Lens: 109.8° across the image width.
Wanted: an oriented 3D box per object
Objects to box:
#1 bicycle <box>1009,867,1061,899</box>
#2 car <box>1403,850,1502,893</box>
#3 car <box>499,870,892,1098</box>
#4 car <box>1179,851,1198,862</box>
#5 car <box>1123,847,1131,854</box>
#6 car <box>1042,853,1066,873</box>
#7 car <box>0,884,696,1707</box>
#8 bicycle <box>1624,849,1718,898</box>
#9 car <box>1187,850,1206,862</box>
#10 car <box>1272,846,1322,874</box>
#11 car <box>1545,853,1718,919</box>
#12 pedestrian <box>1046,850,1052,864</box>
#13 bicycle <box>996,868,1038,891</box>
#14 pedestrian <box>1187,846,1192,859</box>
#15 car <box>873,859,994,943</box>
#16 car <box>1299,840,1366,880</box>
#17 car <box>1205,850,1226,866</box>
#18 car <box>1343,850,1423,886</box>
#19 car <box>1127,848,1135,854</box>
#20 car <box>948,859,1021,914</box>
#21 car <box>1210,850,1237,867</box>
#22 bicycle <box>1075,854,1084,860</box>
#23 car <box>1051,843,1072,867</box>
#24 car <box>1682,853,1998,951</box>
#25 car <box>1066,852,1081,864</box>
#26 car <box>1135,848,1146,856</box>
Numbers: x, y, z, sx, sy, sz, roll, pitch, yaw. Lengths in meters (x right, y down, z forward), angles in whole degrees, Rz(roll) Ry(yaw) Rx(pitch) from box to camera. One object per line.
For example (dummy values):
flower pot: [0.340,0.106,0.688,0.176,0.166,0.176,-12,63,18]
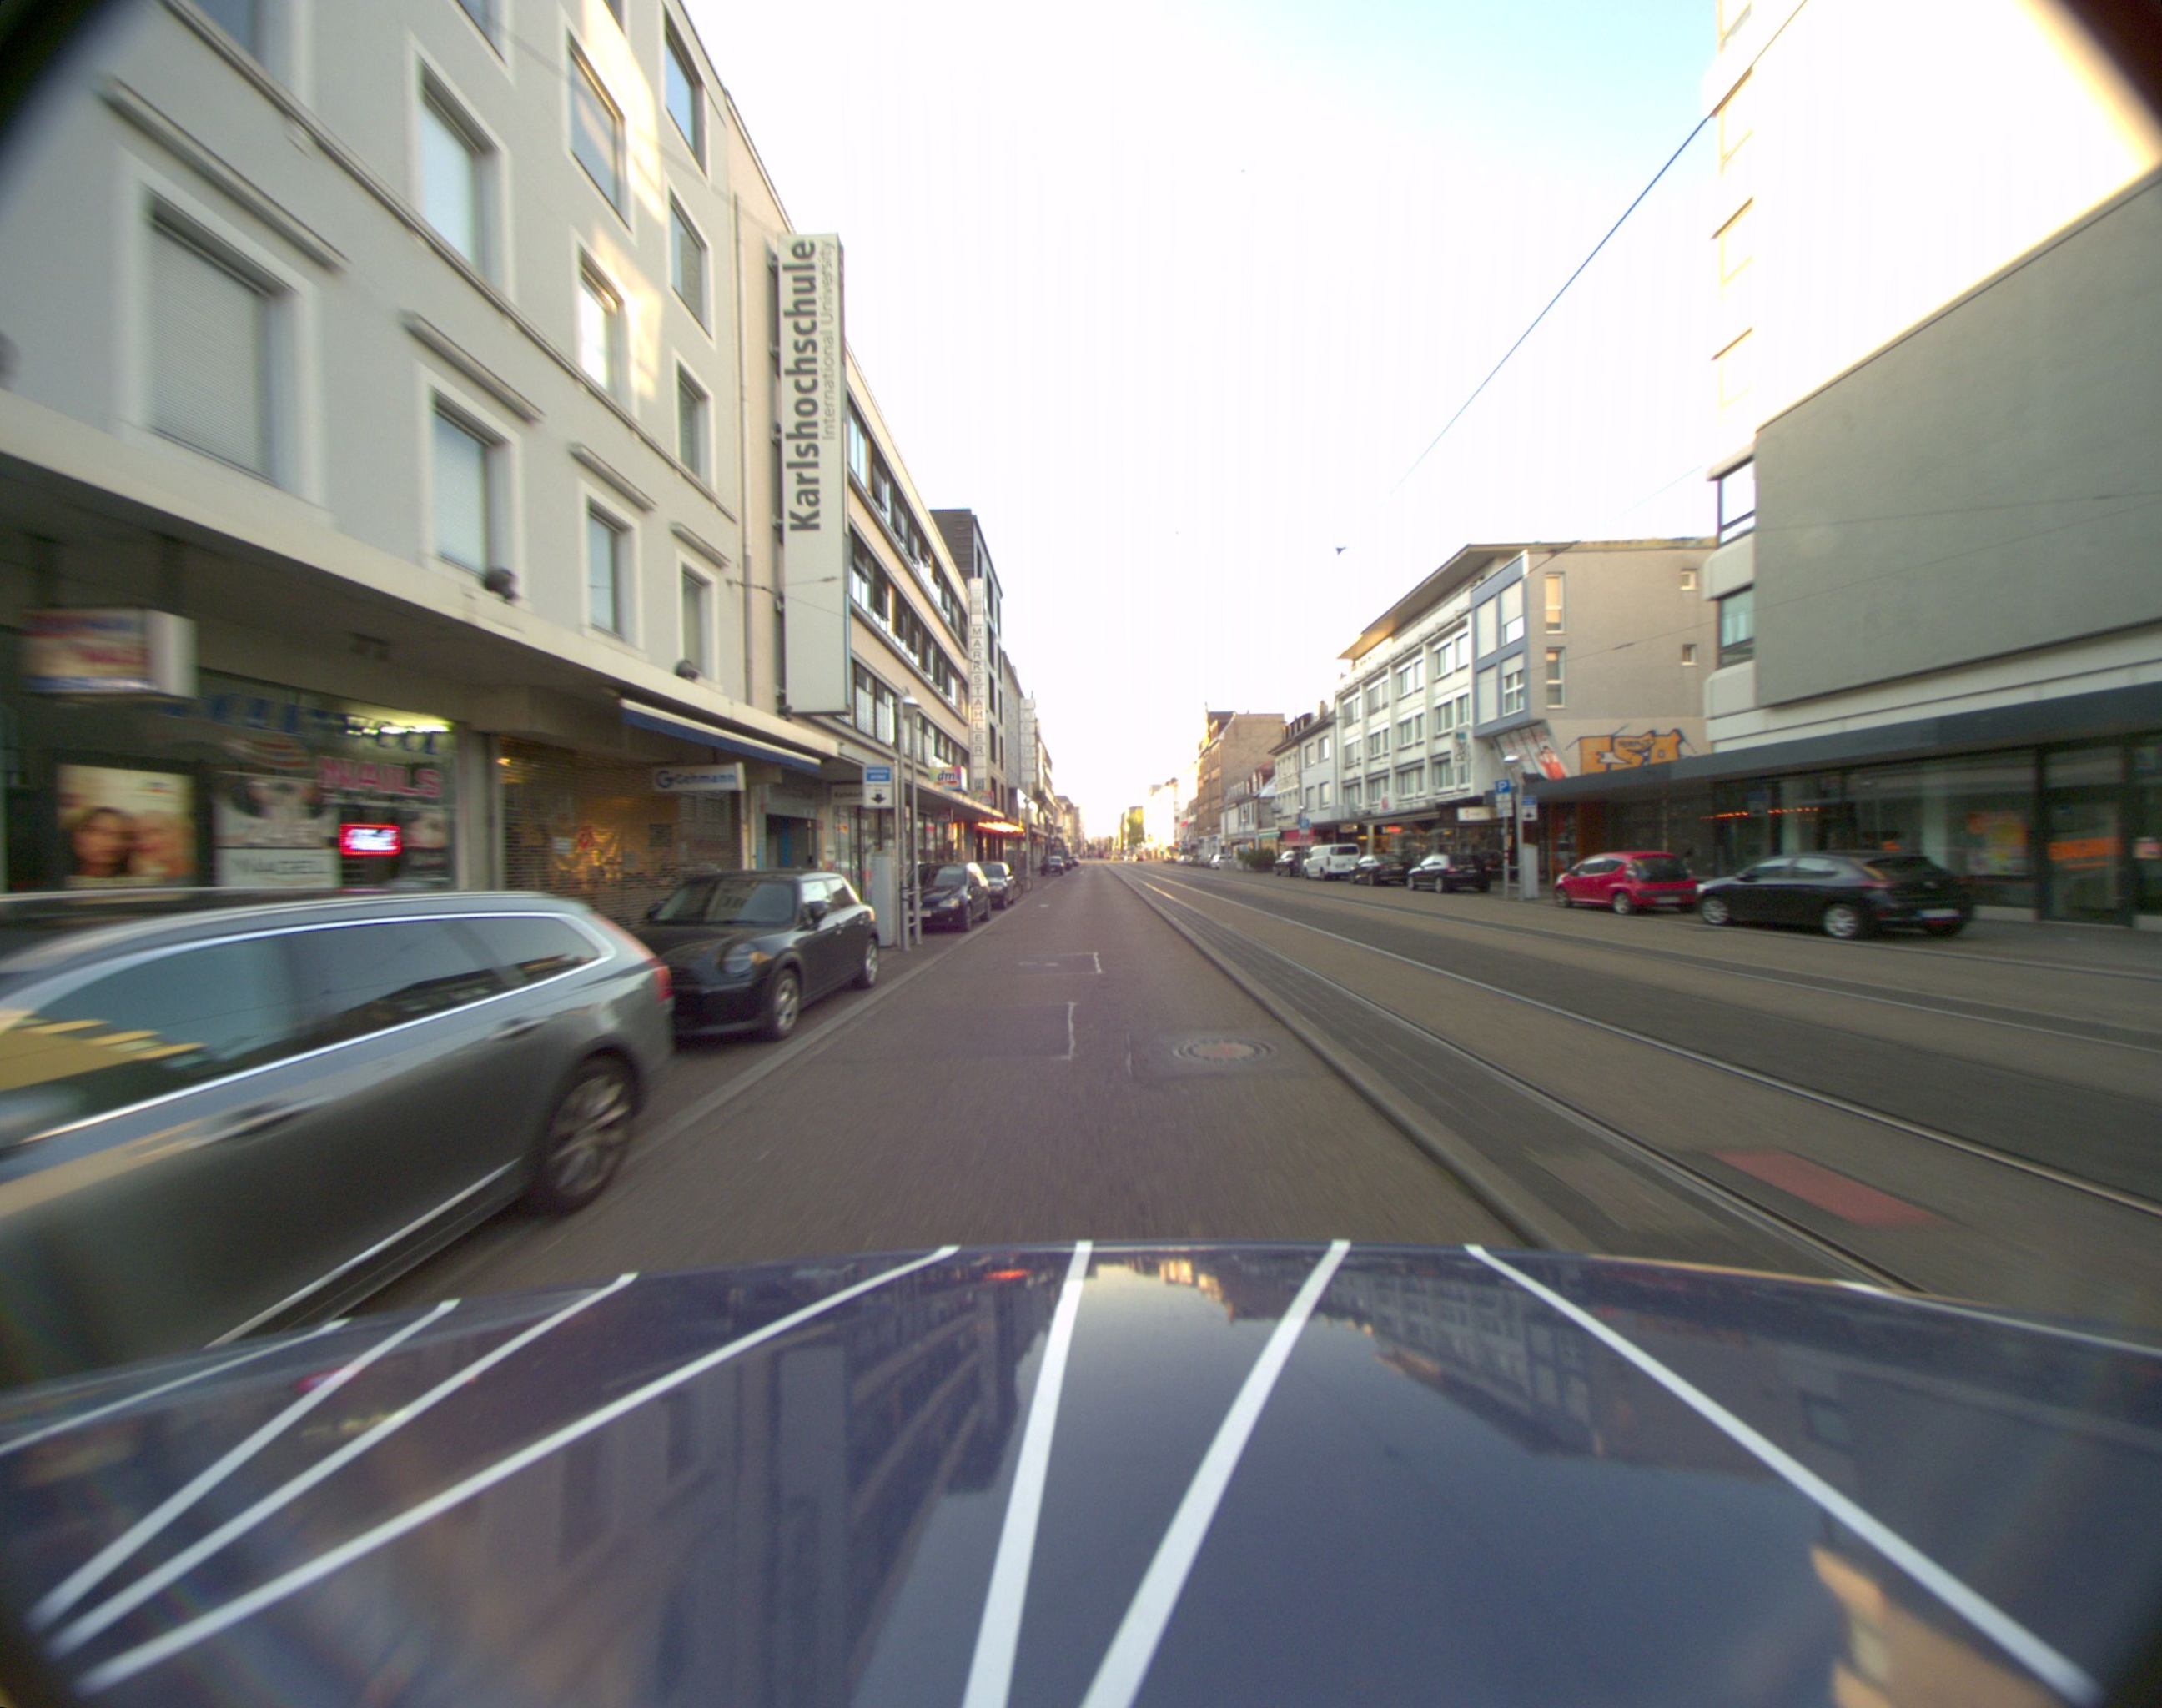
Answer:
bicycle: [-1.670,1.061,27.871,1.844,1.103,0.642,-2,1,-2]
car: [13.695,0.600,28.277,1.794,1.452,4.091,-1,0,2]
car: [-3.325,0.999,7.570,1.730,1.473,4.000,-3,1,1]
car: [15.545,0.333,109.733,1.999,1.412,4.403,-3,1,-1]
car: [13.701,-0.991,224.971,1.998,1.830,3.999,-3,1,0]
car: [-2.160,0.691,61.996,1.744,1.532,3.965,-1,1,1]
car: [-3.119,1.006,1.859,1.796,1.524,4.856,-3,1,0]
bicycle: [17.564,0.576,22.653,2.051,1.332,0.875,-3,1,1]
car: [14.842,0.262,97.811,1.846,1.484,3.816,-3,1,1]
car: [14.212,0.363,50.150,1.998,1.687,4.588,-3,1,1]
car: [13.347,0.704,18.714,1.696,1.426,3.592,-1,0,1]
pedestrian: [-4.026,0.404,95.806,0.743,1.746,0.789,1,1,-3]
bicycle: [-2.826,1.136,33.499,1.799,0.967,0.575,1,1,-2]
pedestrian: [17.914,-0.220,125.175,0.748,2.002,1.049,-3,1,5]
car: [-3.158,0.954,17.120,1.769,1.505,4.071,-3,1,1]
car: [13.937,0.305,42.414,1.969,2.002,5.099,-3,1,0]
car: [14.486,0.415,81.772,1.660,1.562,3.470,-3,1,1]
car: [13.788,0.610,34.980,1.876,1.418,4.570,-3,1,1]
car: [13.768,-0.826,209.492,1.998,1.434,3.999,-3,1,0]
car: [-2.981,0.972,24.140,1.658,1.454,4.022,-3,1,1]
car: [14.410,0.399,77.089,1.896,1.547,4.622,-3,1,1]
bicycle: [-0.375,0.670,173.143,2.259,1.183,0.495,-2,1,34]
car: [-2.112,0.126,83.304,2.080,2.434,5.603,-3,1,0]
car: [13.207,0.733,13.628,1.696,1.417,3.965,-3,0,1]
car: [-1.121,0.550,113.216,1.998,1.663,3.876,-3,1,0]
car: [12.716,-0.514,163.556,1.998,1.554,3.999,-3,1,0]
